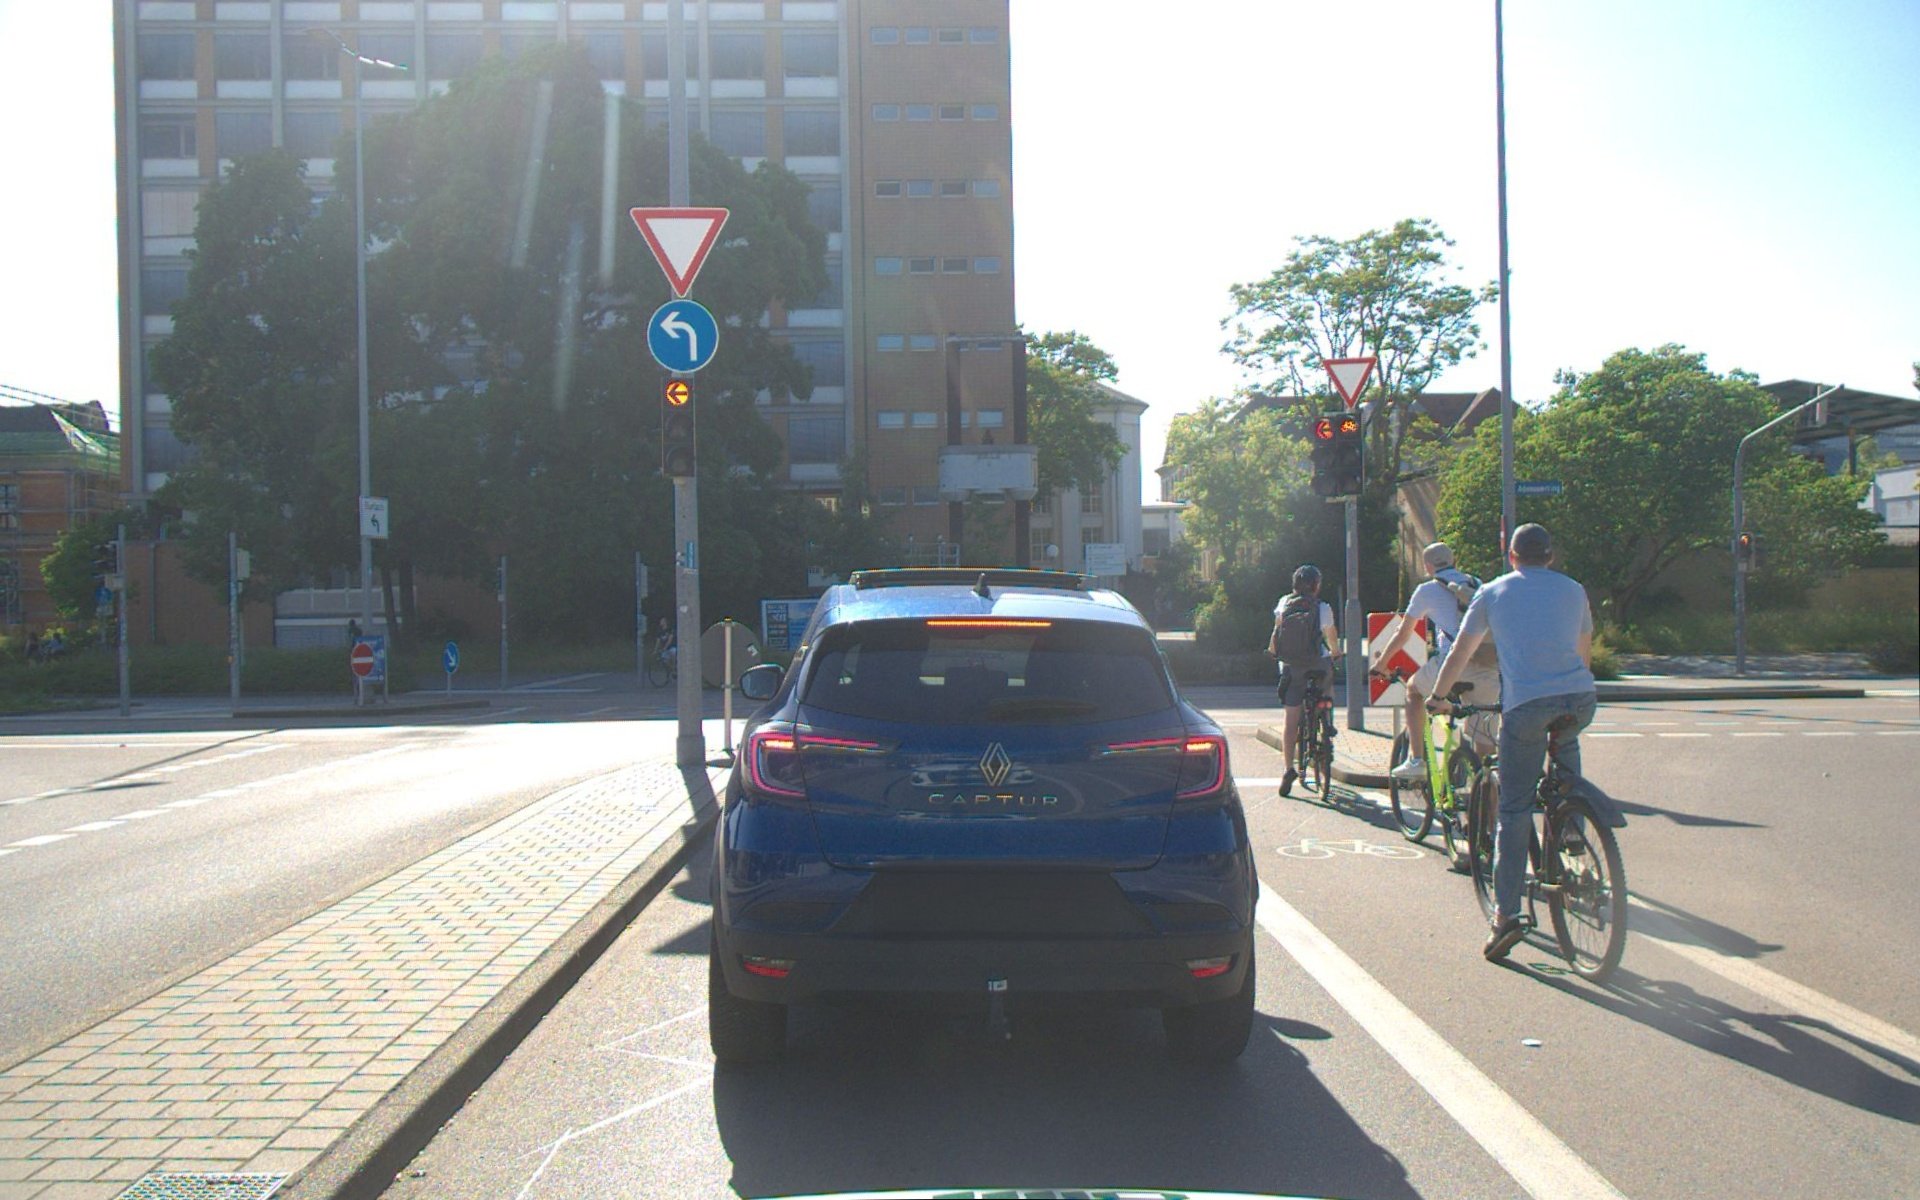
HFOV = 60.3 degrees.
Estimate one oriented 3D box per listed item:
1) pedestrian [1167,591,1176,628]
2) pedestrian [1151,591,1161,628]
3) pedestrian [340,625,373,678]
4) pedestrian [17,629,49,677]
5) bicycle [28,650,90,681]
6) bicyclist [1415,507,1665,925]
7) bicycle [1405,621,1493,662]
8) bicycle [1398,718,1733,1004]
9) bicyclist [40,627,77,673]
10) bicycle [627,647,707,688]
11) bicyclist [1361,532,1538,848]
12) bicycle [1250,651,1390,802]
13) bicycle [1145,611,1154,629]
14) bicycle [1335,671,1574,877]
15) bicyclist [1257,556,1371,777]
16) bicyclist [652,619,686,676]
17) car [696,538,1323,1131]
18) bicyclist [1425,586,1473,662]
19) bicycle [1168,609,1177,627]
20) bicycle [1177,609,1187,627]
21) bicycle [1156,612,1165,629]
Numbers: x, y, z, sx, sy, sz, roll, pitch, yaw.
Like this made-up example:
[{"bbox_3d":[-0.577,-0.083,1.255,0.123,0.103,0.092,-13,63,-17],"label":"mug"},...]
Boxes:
[{"bbox_3d":[11.830,0.541,92.563,0.465,2.049,0.468,-1,0,5],"label":"pedestrian"},{"bbox_3d":[10.799,0.517,91.196,0.465,2.049,0.523,-1,0,5],"label":"pedestrian"},{"bbox_3d":[-18.632,1.583,51.073,0.721,1.631,0.599,-1,0,17],"label":"pedestrian"},{"bbox_3d":[-31.374,1.795,55.977,0.843,1.598,0.559,-1,0,26],"label":"pedestrian"},{"bbox_3d":[-29.387,2.125,53.953,2.033,0.981,0.598,-1,0,21],"label":"bicycle"},{"bbox_3d":[2.512,0.475,7.271,0.736,1.698,1.016,1,0,0],"label":"bicyclist"},{"bbox_3d":[12.415,1.062,42.015,2.037,0.946,0.696,-2,1,7],"label":"bicycle"},{"bbox_3d":[2.505,1.037,7.116,0.725,0.911,1.978,1,0,0],"label":"bicycle"},{"bbox_3d":[-29.394,1.634,53.952,0.917,1.454,0.598,-1,0,21],"label":"bicyclist"},{"bbox_3d":[-7.716,1.766,43.619,1.982,0.981,0.593,-1,0,-28],"label":"bicycle"},{"bbox_3d":[2.886,0.510,9.841,0.633,1.769,1.065,1,0,-6],"label":"bicyclist"},{"bbox_3d":[2.765,0.936,12.924,0.723,1.012,2.174,1,0,3],"label":"bicycle"},{"bbox_3d":[10.797,1.146,94.223,0.397,0.990,1.684,1,0,3],"label":"bicycle"},{"bbox_3d":[2.875,0.978,9.845,0.646,1.020,1.967,1,0,-6],"label":"bicycle"},{"bbox_3d":[2.763,0.501,12.975,0.711,1.657,0.969,1,0,3],"label":"bicyclist"},{"bbox_3d":[-7.668,1.242,43.646,0.728,1.466,0.593,-1,0,-27],"label":"bicyclist"},{"bbox_3d":[0.065,0.668,6.682,1.767,1.660,3.998,1,0,-3],"label":"car"},{"bbox_3d":[12.452,0.614,42.114,1.078,1.900,0.653,-1,0,10],"label":"bicyclist"},{"bbox_3d":[12.158,1.025,94.568,0.397,0.990,1.684,1,0,3],"label":"bicycle"},{"bbox_3d":[12.683,1.034,94.590,0.397,0.990,1.684,1,0,3],"label":"bicycle"},{"bbox_3d":[11.407,1.157,94.189,0.397,0.990,1.684,1,0,3],"label":"bicycle"}]
